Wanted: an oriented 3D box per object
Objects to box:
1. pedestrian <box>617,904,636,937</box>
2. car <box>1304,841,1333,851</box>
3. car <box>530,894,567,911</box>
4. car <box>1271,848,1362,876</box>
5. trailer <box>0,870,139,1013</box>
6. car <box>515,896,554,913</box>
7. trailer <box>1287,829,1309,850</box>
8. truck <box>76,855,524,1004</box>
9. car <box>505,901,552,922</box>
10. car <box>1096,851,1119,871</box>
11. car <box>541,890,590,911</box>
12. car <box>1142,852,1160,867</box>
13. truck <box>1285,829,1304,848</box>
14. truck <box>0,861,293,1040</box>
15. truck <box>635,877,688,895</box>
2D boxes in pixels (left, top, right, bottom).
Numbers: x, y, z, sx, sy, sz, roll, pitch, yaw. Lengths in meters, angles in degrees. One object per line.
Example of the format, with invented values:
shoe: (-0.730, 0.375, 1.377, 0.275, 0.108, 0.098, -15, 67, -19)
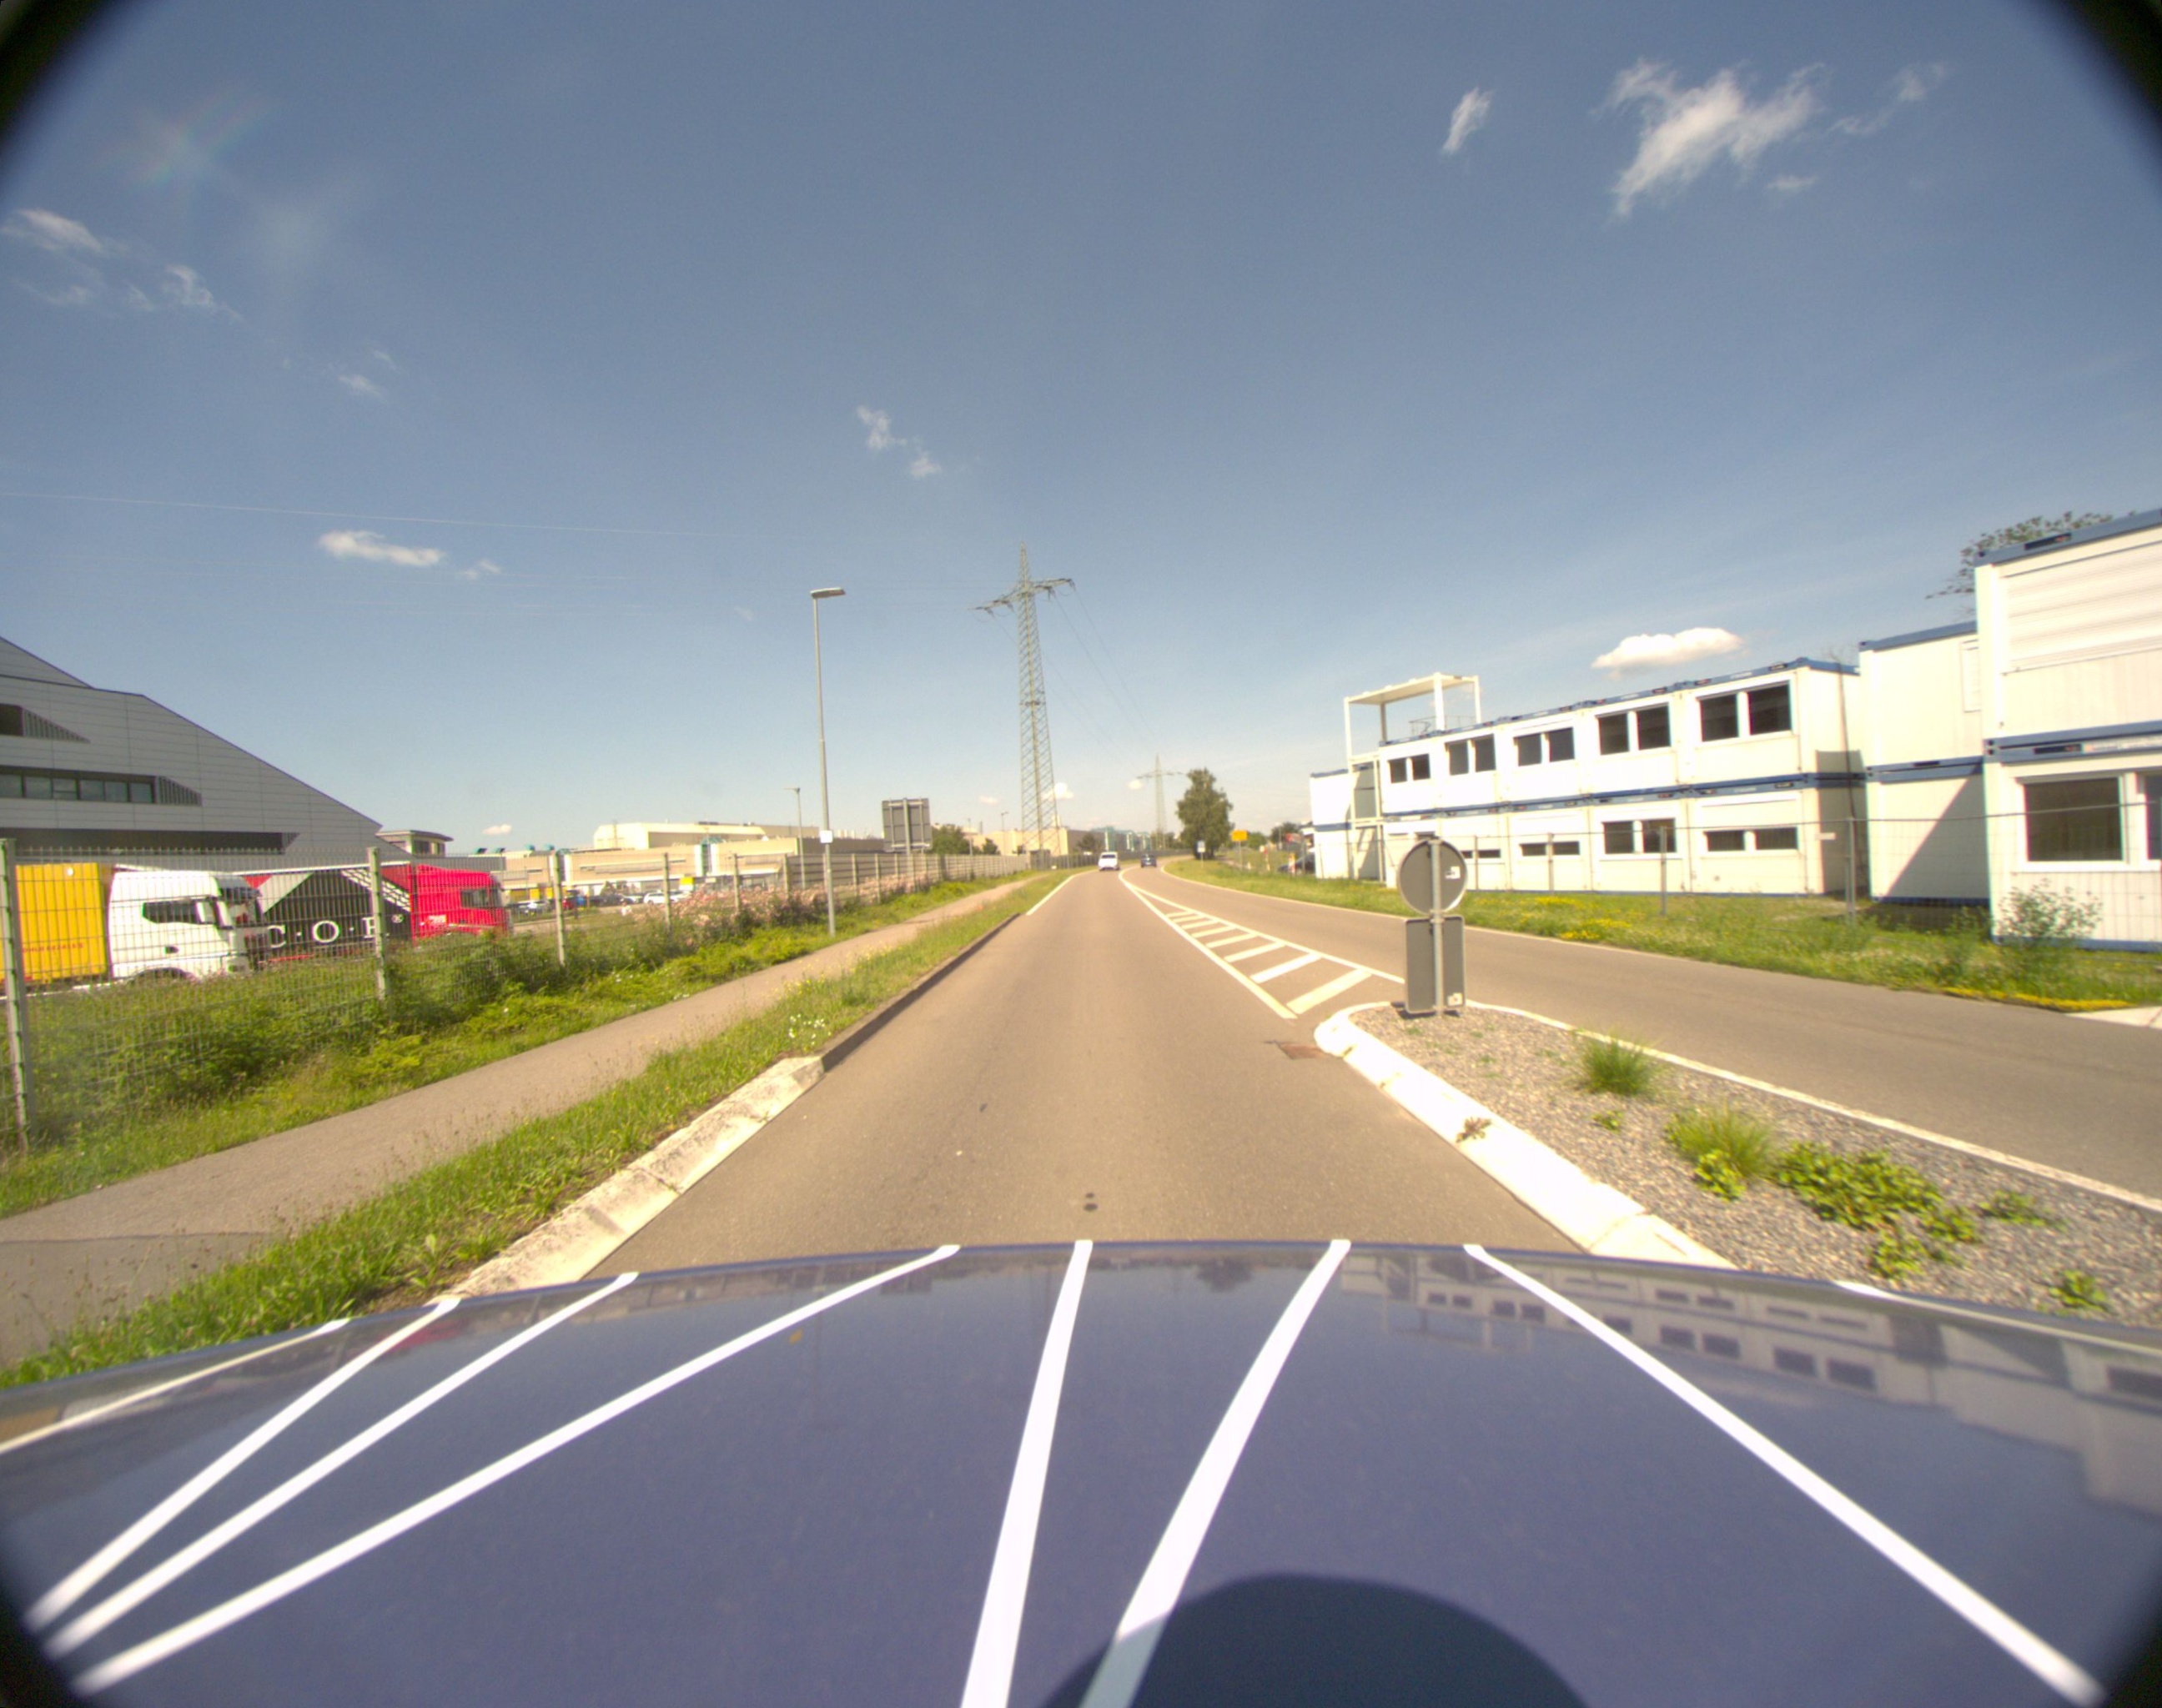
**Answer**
pedestrian: (-23.835, 3.500, 39.857, 0.484, 1.643, 0.574, -4, 1, 5)
car: (36.336, -1.195, 116.256, 3.993, 1.335, 1.749, -3, 0, 14)
car: (-58.629, 5.333, 83.608, 3.053, 1.525, 1.472, -4, 0, 7)
car: (14.750, 0.492, 47.702, 4.984, 1.408, 1.999, -3, 0, -8)
trailer: (-36.133, 2.851, 23.095, 8.728, 4.271, 3.022, -3, 1, -31)
car: (-58.308, 5.336, 81.066, 3.053, 1.525, 1.472, -4, 0, 7)
trailer: (40.599, -2.813, 142.589, 3.295, 3.624, 14.937, -2, 1, 14)
truck: (-27.737, 2.418, 28.182, 10.990, 4.232, 3.021, -3, 1, -31)
car: (-49.328, 5.132, 67.863, 3.053, 1.525, 1.472, -4, 0, 7)
car: (2.675, 0.644, 75.148, 1.835, 1.796, 4.831, -2, 0, 6)
car: (-62.200, 5.618, 91.715, 4.746, 2.002, 2.001, -5, 0, 11)
car: (7.916, 0.585, 85.638, 1.706, 1.473, 4.002, -2, 1, 9)
truck: (43.518, -3.090, 155.001, 3.106, 3.624, 10.603, -2, 1, 14)
truck: (-28.050, 2.505, 19.029, 10.990, 4.149, 2.816, -3, 1, -31)
truck: (-87.022, 6.573, 157.940, 1.997, 3.119, 11.861, -4, 0, 12)
